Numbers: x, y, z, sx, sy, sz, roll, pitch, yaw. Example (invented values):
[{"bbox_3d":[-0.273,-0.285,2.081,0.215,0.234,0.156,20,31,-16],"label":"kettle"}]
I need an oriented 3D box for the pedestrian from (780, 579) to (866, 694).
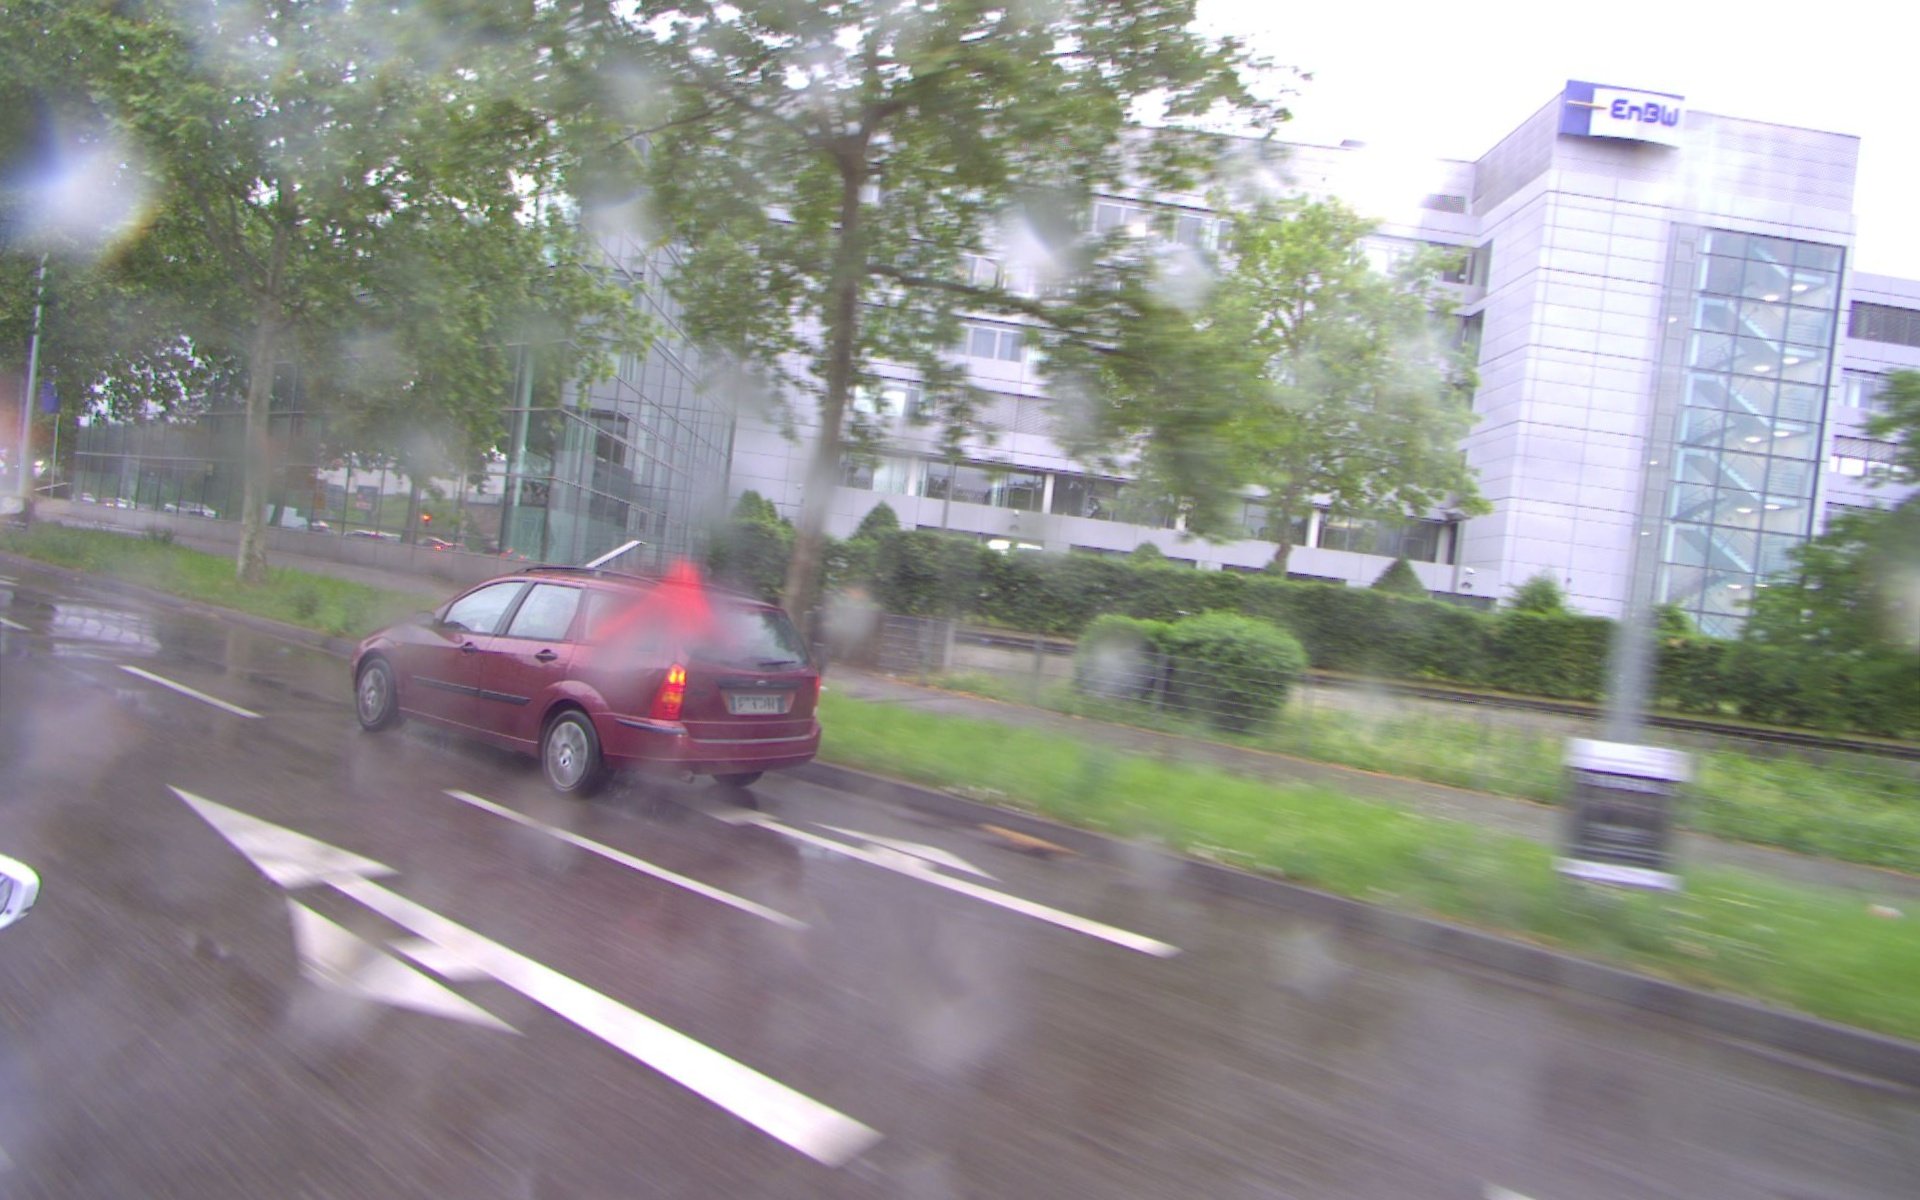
[{"bbox_3d":[-2.322,0.617,17.042,1.057,1.783,0.665,7,0,28],"label":"pedestrian"}]

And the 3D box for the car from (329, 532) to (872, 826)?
[{"bbox_3d":[-2.942,0.498,7.991,4.044,1.555,1.842,7,-1,33],"label":"car"}]
